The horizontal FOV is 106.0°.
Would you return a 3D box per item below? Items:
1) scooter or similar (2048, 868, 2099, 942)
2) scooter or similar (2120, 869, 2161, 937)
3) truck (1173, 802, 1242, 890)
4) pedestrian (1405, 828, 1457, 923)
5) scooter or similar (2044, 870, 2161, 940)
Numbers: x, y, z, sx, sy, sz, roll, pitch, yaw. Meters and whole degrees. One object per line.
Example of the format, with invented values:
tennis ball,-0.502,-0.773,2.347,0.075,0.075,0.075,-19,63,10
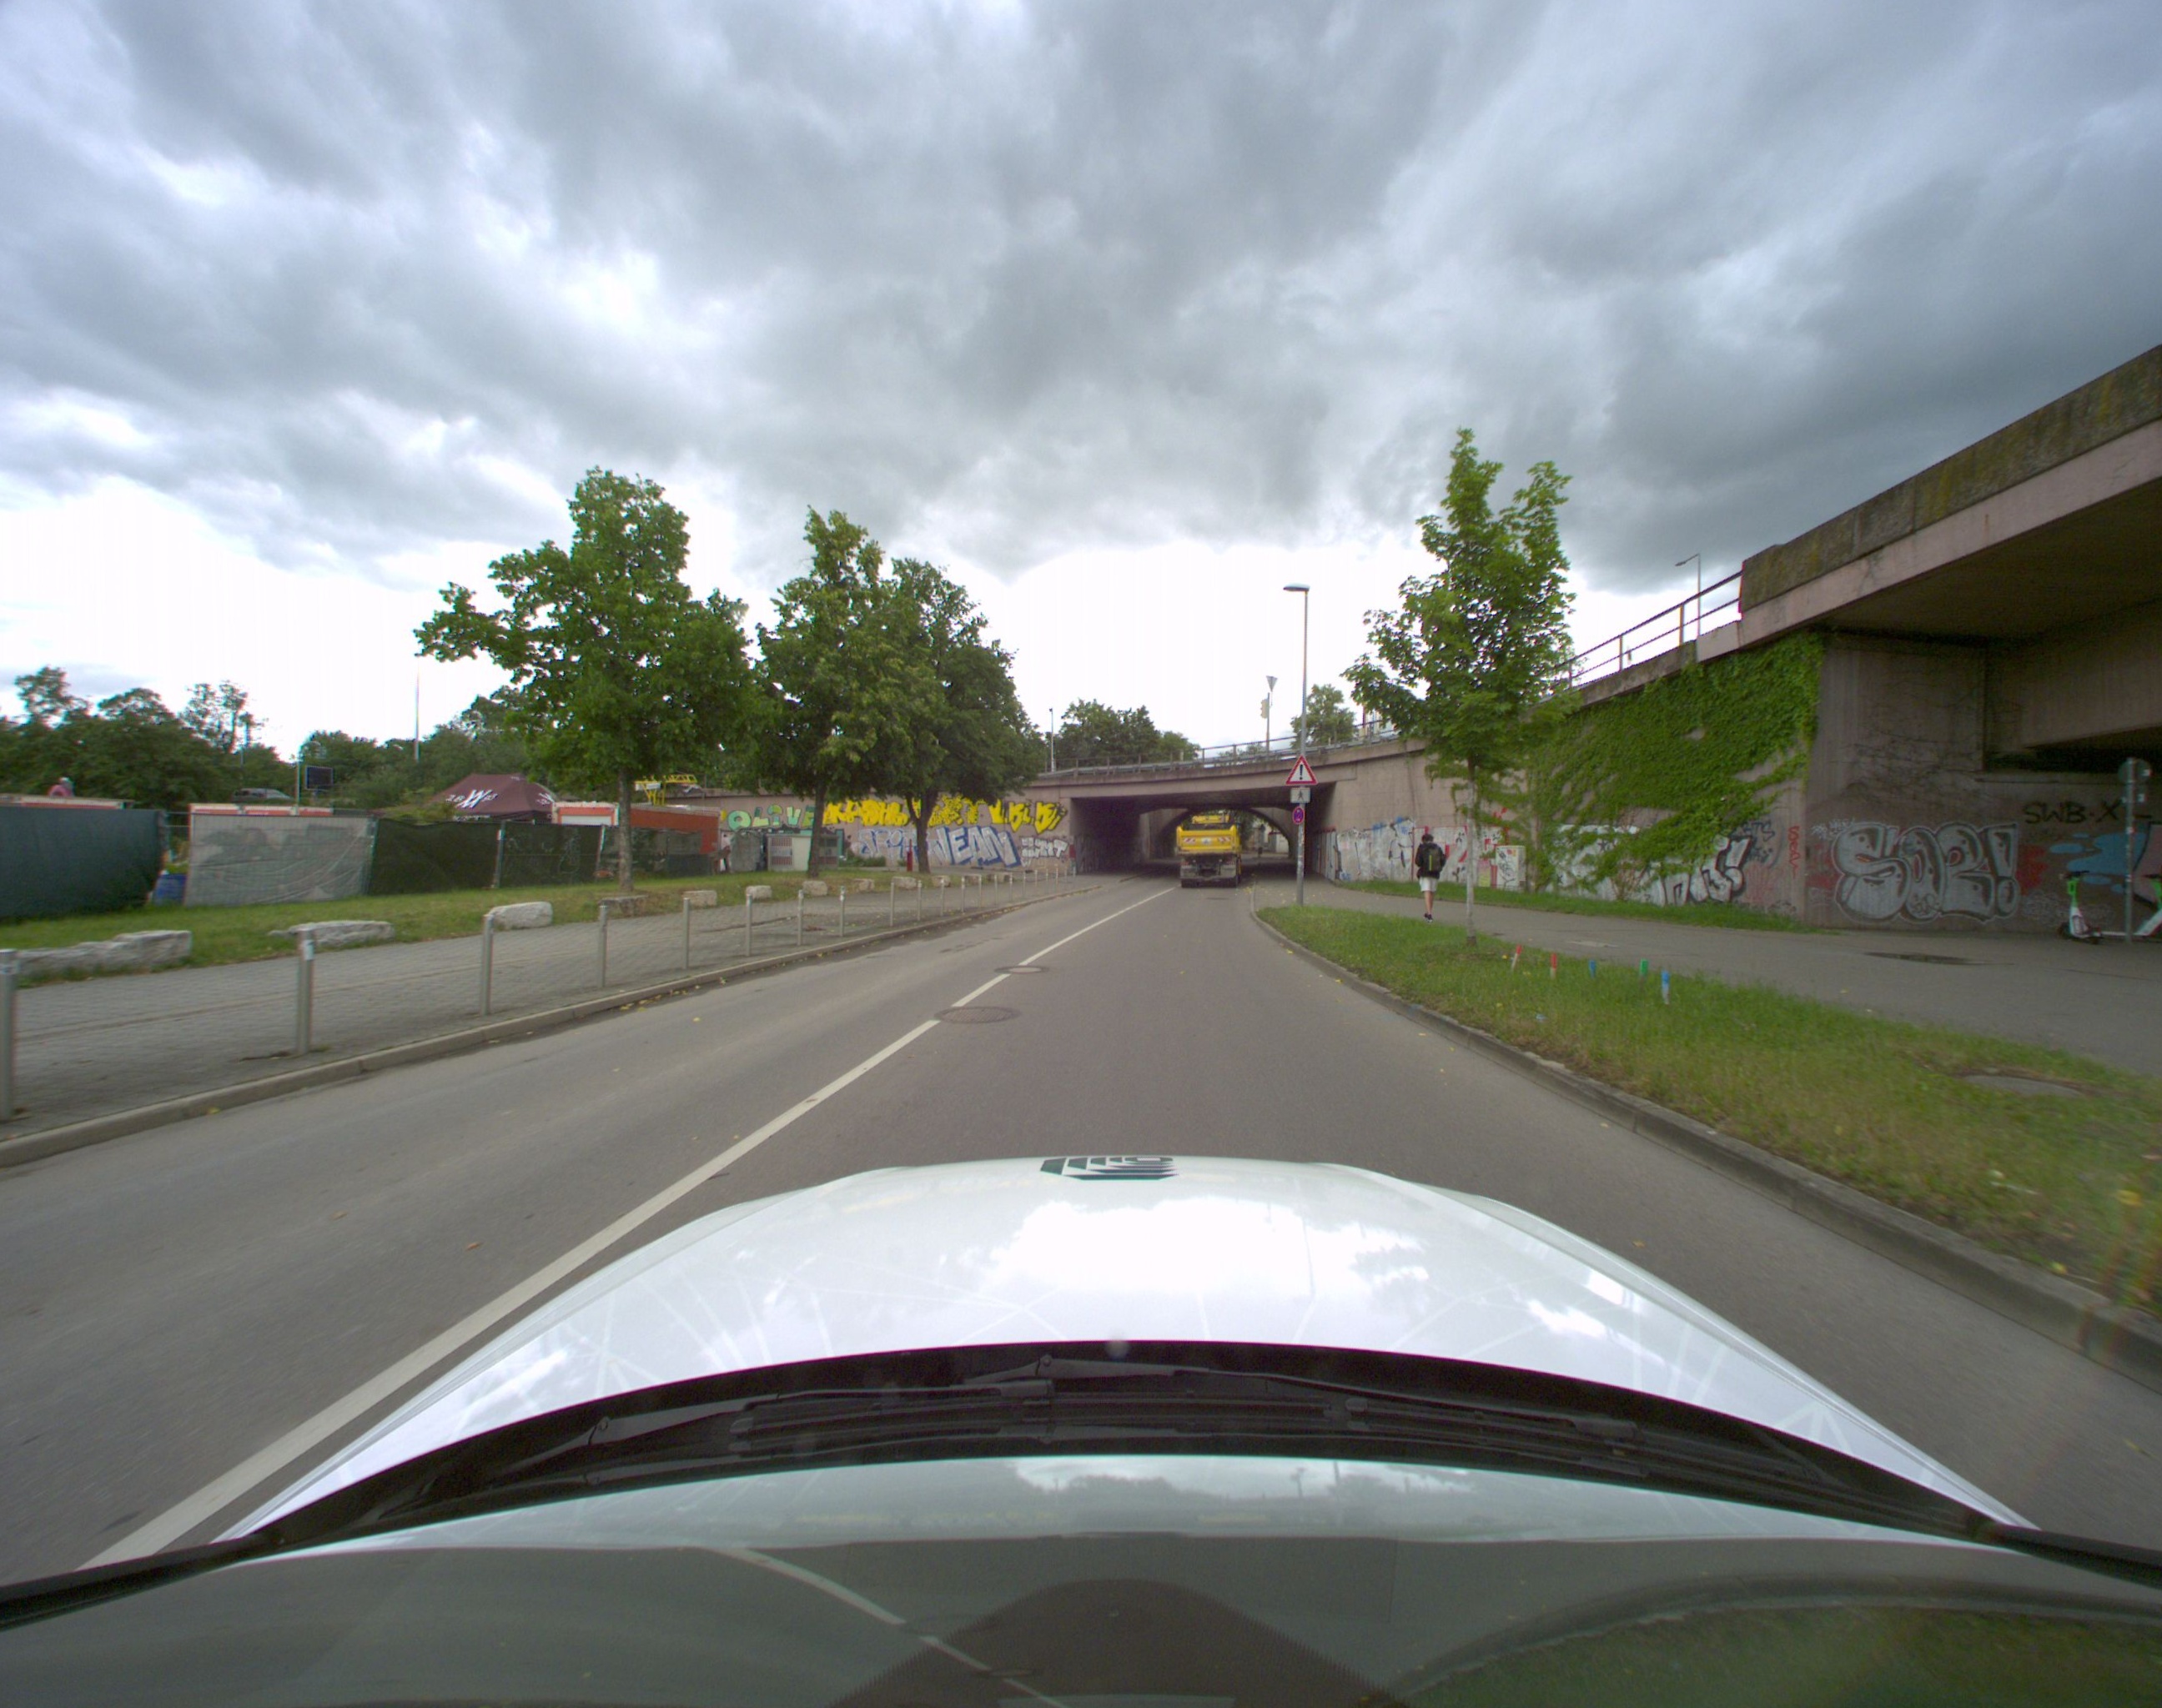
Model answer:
scooter or similar,16.234,0.805,13.341,0.266,1.129,1.690,0,0,42
scooter or similar,18.976,0.861,13.957,0.270,1.168,1.427,0,0,-24
truck,6.199,-0.318,38.868,2.740,3.698,7.905,1,0,12
pedestrian,7.270,0.433,16.924,0.732,1.907,0.825,1,0,1
scooter or similar,17.734,0.857,14.043,0.270,1.129,1.427,0,0,-24
